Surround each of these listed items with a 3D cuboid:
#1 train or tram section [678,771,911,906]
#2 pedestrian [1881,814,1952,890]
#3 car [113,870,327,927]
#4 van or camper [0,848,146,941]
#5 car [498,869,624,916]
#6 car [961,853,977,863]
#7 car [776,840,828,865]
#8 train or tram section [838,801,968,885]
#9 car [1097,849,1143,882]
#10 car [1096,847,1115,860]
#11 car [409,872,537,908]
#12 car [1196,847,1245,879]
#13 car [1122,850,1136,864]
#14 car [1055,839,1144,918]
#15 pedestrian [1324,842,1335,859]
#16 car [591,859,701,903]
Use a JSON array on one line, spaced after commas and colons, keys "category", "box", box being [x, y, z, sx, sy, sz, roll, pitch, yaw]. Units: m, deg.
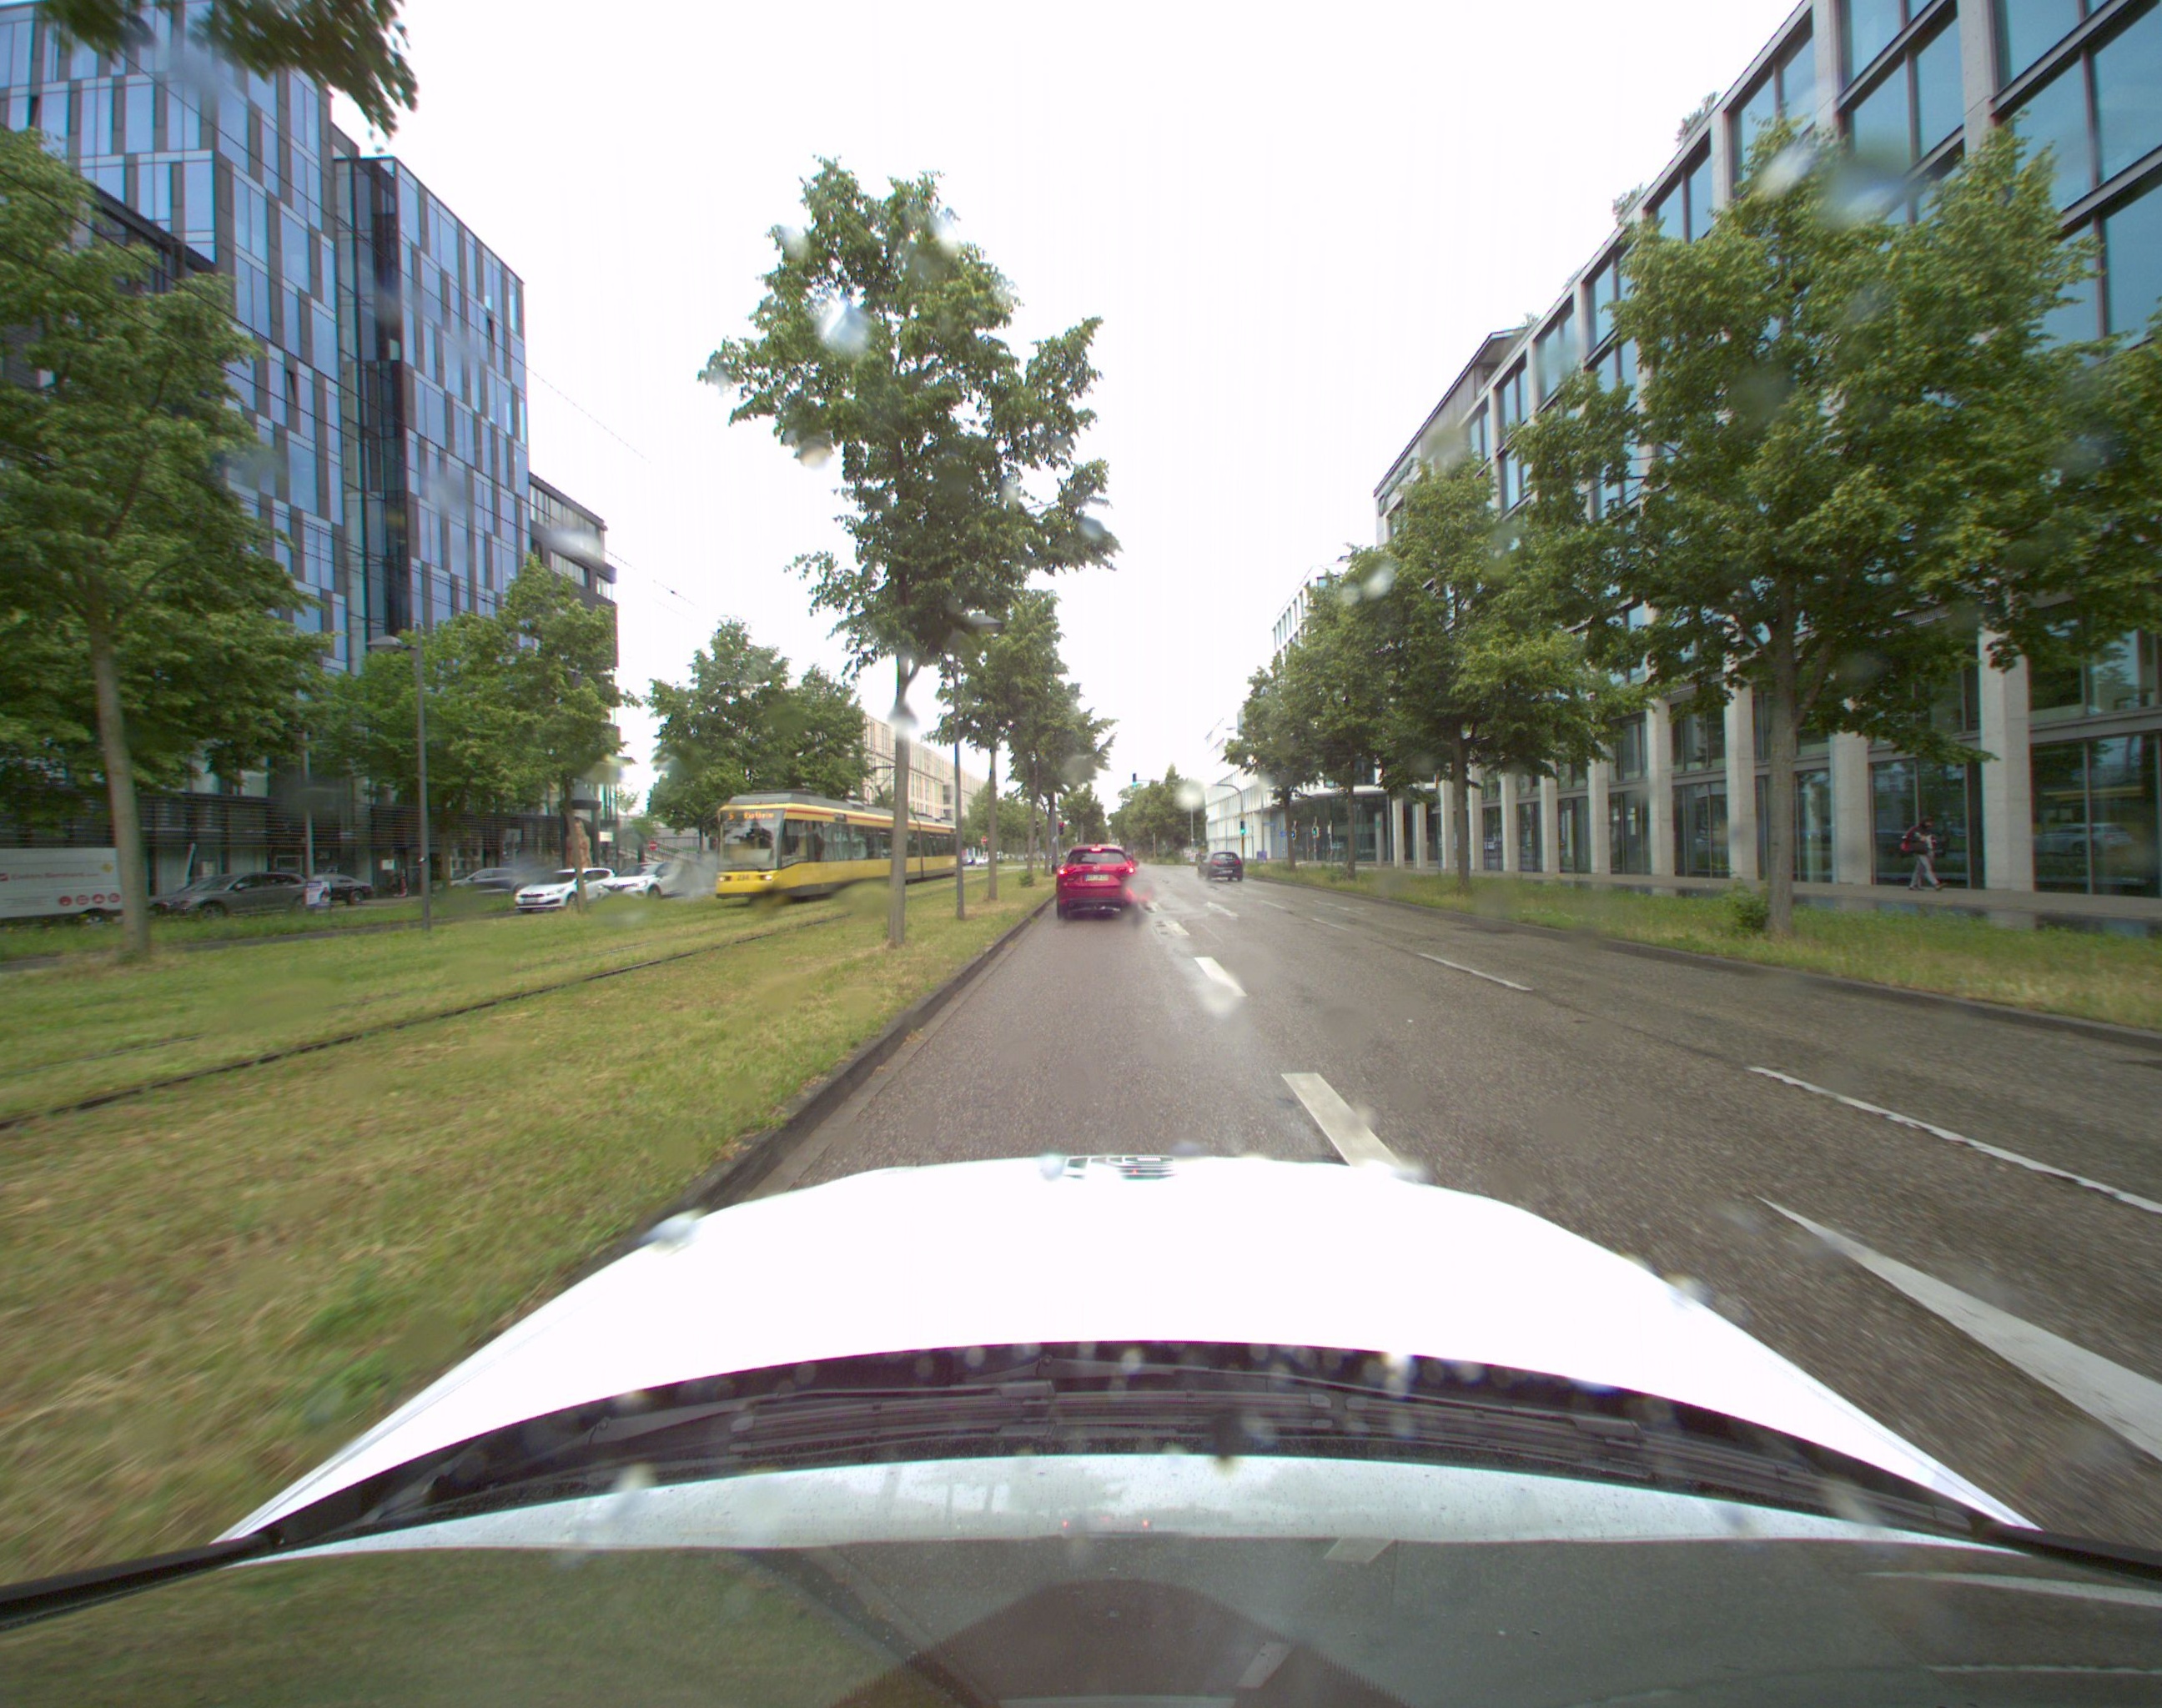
[{"category": "train or tram section", "box": [-9.285, -0.470, 29.084, 3.117, 3.658, 13.412, -1, 0, 2]}, {"category": "pedestrian", "box": [19.597, -0.053, 19.118, 0.714, 1.714, 0.861, -3, 0, 1]}, {"category": "car", "box": [-27.629, 1.374, 26.429, 1.987, 1.521, 4.607, -1, 0, 1]}, {"category": "van or camper", "box": [-27.892, 1.022, 20.229, 2.424, 2.315, 5.853, -1, 0, 2]}, {"category": "car", "box": [-18.795, 1.332, 29.682, 1.878, 1.459, 4.002, -1, 0, 2]}, {"category": "car", "box": [-18.312, 0.614, 132.799, 1.987, 1.618, 4.000, -1, 0, 0]}, {"category": "car", "box": [-18.186, -0.122, 53.240, 1.878, 1.459, 4.002, -3, 0, 2]}, {"category": "train or tram section", "box": [-8.851, -0.529, 43.251, 3.117, 3.658, 15.070, -1, 0, 2]}, {"category": "car", "box": [1.916, 0.507, 38.865, 1.949, 1.465, 3.788, -1, 0, 6]}, {"category": "car", "box": [2.851, -0.082, 95.239, 1.962, 1.437, 4.549, 0, 0, -2]}, {"category": "car", "box": [-30.499, 1.775, 41.016, 1.974, 1.521, 4.710, -1, 0, 29]}, {"category": "car", "box": [6.791, 0.423, 39.969, 1.738, 1.465, 3.780, -1, 0, -1]}, {"category": "car", "box": [6.994, 0.429, 118.699, 1.986, 2.013, 4.002, -1, 0, 2]}, {"category": "car", "box": [0.443, 0.517, 19.472, 1.891, 1.677, 4.001, -1, 0, 1]}, {"category": "pedestrian", "box": [24.681, -0.363, 80.852, 0.774, 1.707, 0.684, -1, 0, 40]}, {"category": "car", "box": [-15.656, 0.920, 29.574, 1.704, 1.404, 4.002, -1, 0, 2]}]
